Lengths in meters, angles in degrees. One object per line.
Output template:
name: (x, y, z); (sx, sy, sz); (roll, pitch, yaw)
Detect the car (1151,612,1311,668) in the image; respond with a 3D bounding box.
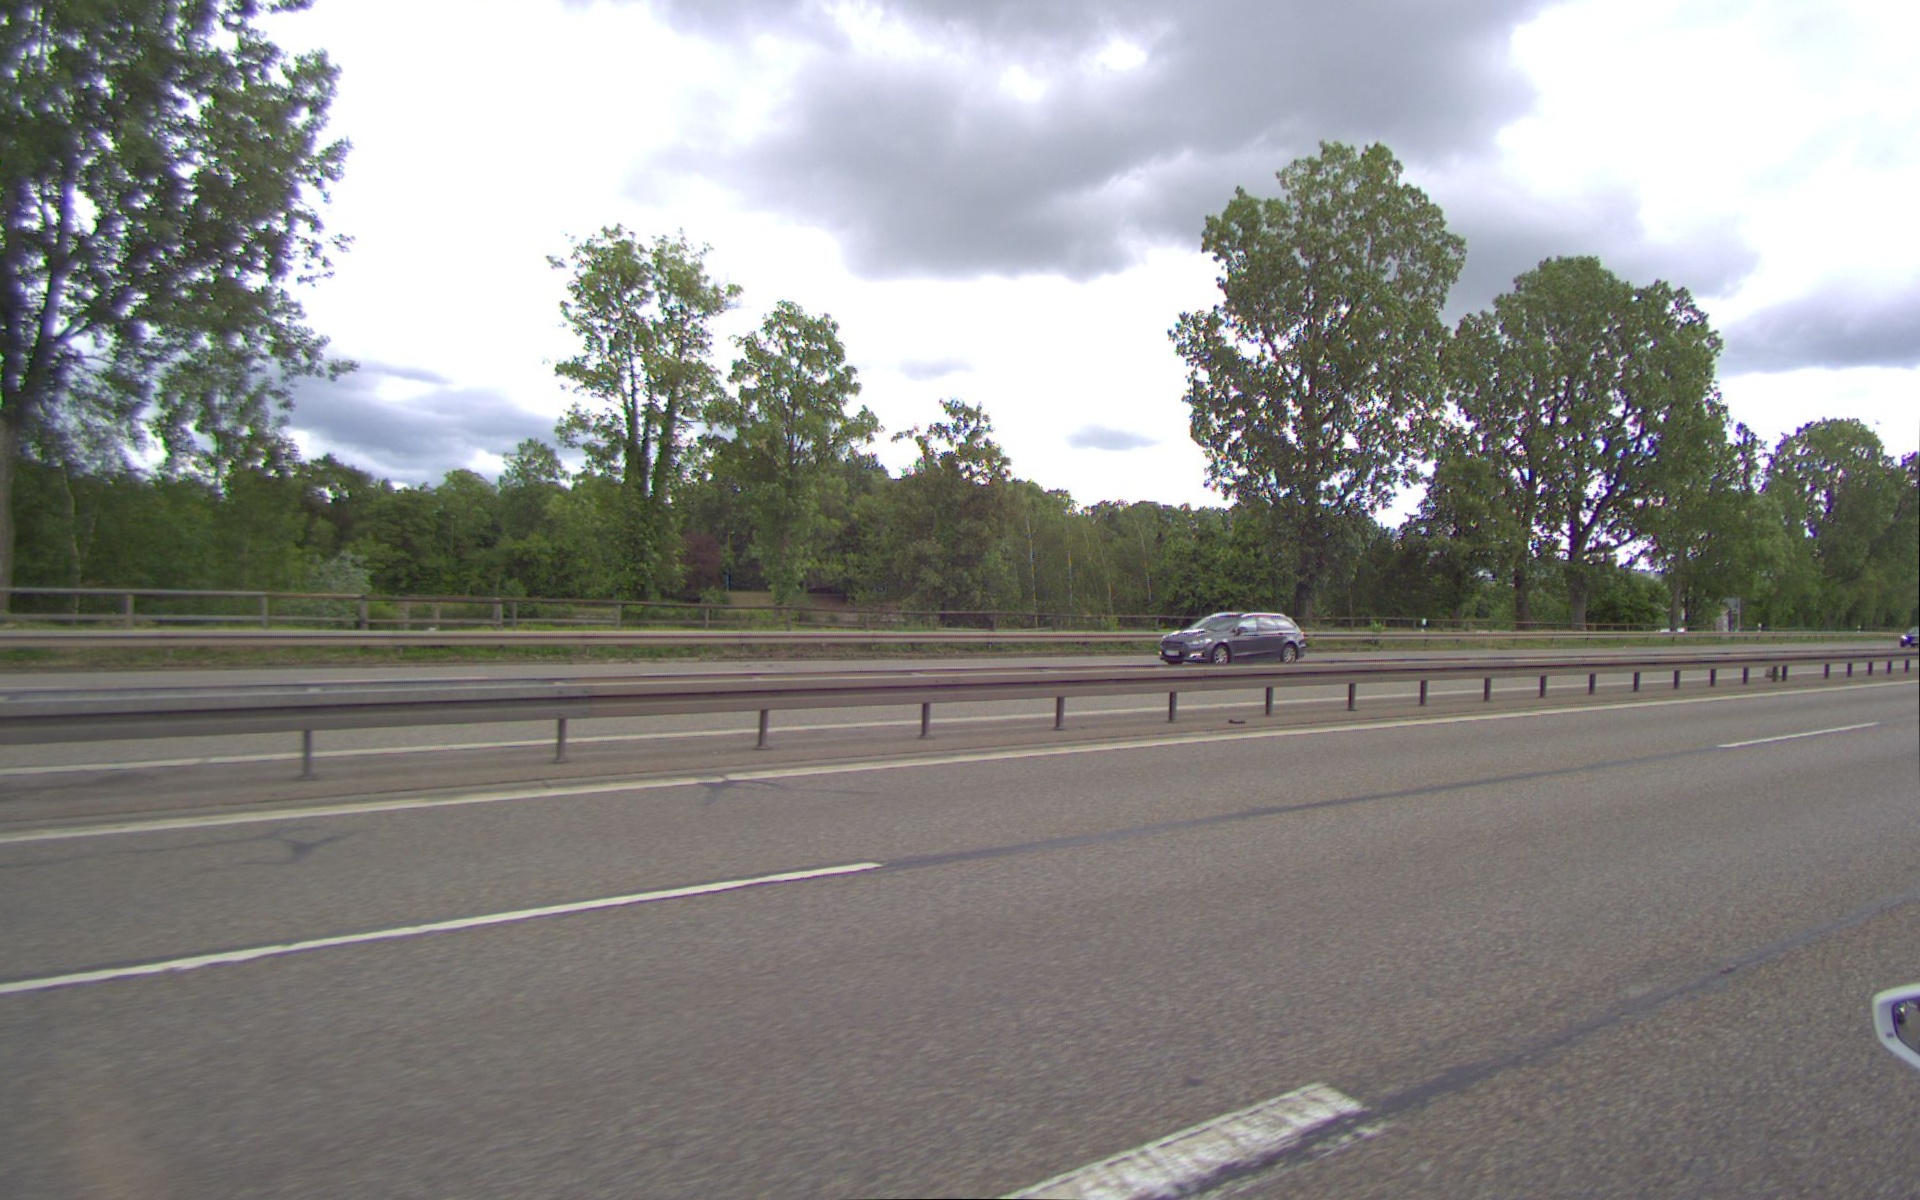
car: (7.544, 1.073, 27.837); (4.589, 1.432, 1.687); (1, -1, -33)

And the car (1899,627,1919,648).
car: (67.043, 2.614, 69.989); (4.597, 1.432, 1.684); (1, -1, -38)
